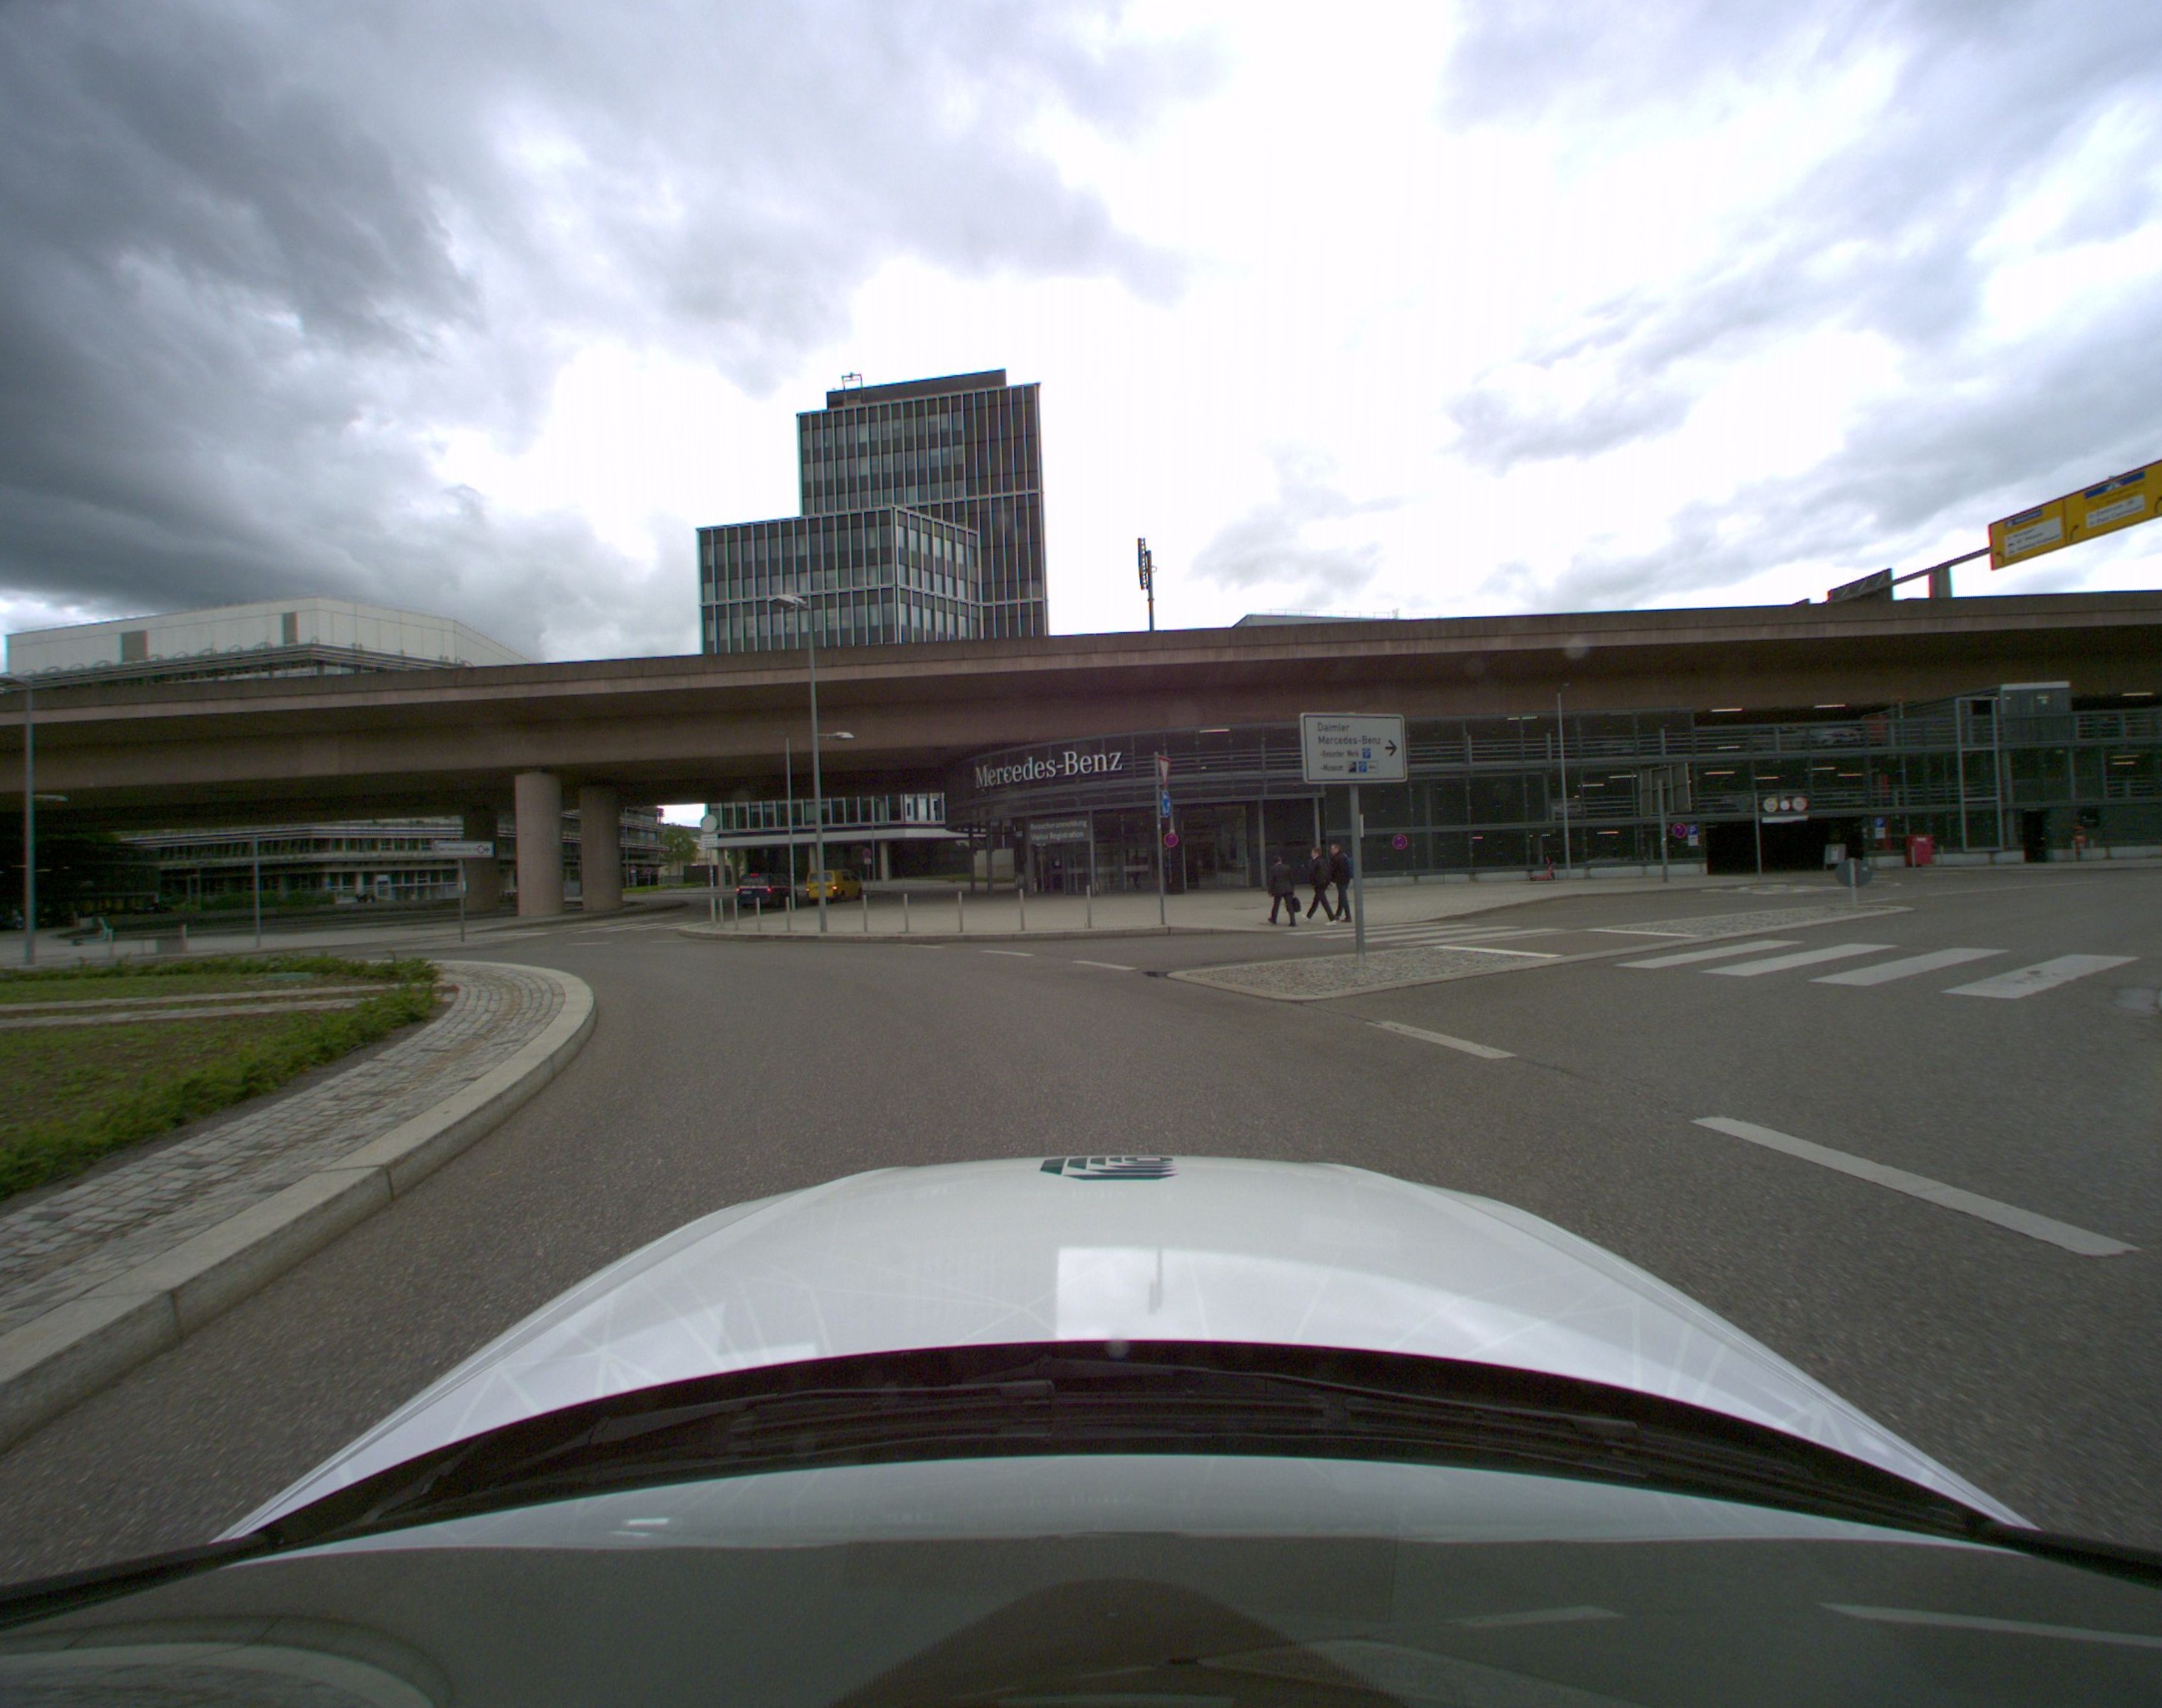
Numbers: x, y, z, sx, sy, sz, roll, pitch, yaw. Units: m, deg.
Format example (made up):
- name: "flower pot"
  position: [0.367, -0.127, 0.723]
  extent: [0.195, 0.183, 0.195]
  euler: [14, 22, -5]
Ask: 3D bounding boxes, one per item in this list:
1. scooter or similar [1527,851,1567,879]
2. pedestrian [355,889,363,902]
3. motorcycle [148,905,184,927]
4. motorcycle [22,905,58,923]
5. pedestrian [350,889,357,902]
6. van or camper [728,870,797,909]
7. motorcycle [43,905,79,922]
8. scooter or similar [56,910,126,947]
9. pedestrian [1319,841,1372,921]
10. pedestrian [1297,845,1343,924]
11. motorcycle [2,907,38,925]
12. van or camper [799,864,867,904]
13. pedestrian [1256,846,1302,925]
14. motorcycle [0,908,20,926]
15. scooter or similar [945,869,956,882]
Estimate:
- name: "scooter or similar"
  position: [19.588, 0.455, 34.242]
  extent: [1.418, 1.123, 0.381]
  euler: [-1, 0, 0]
- name: "pedestrian"
  position: [-81.548, 4.697, 92.038]
  extent: [0.497, 1.481, 0.540]
  euler: [-1, 0, -24]
- name: "motorcycle"
  position: [-60.353, 4.075, 53.747]
  extent: [0.547, 1.264, 1.932]
  euler: [-1, 0, -13]
- name: "motorcycle"
  position: [-76.703, 4.426, 60.005]
  extent: [2.060, 1.286, 0.676]
  euler: [-1, 0, 8]
- name: "pedestrian"
  position: [-82.959, 4.704, 92.859]
  extent: [0.497, 1.481, 0.540]
  euler: [-1, 0, -24]
- name: "van or camper"
  position: [-17.553, 1.922, 45.161]
  extent: [2.143, 1.893, 4.894]
  euler: [-1, 0, -4]
- name: "motorcycle"
  position: [-76.691, 4.463, 61.234]
  extent: [2.060, 1.220, 0.676]
  euler: [-1, 0, 8]
- name: "scooter or similar"
  position: [-38.818, 2.909, 31.959]
  extent: [0.512, 1.296, 1.658]
  euler: [-2, 0, 23]
- name: "pedestrian"
  position: [6.162, 0.613, 18.998]
  extent: [0.863, 1.798, 0.780]
  euler: [-1, 0, -11]
- name: "pedestrian"
  position: [5.325, 0.668, 18.198]
  extent: [0.781, 1.705, 0.773]
  euler: [-1, 0, 1]
- name: "motorcycle"
  position: [-76.825, 4.476, 58.968]
  extent: [2.060, 1.220, 0.676]
  euler: [-1, 0, 8]
- name: "van or camper"
  position: [-14.455, 1.712, 47.778]
  extent: [2.346, 1.999, 4.507]
  euler: [-4, 0, 2]
- name: "pedestrian"
  position: [4.422, 0.685, 18.238]
  extent: [0.858, 1.705, 0.774]
  euler: [-1, 0, 6]
- name: "motorcycle"
  position: [-76.908, 4.477, 58.013]
  extent: [2.060, 1.220, 0.676]
  euler: [-1, 0, 8]
- name: "scooter or similar"
  position: [-11.859, 1.931, 73.825]
  extent: [0.701, 1.105, 1.490]
  euler: [-1, 0, -21]
